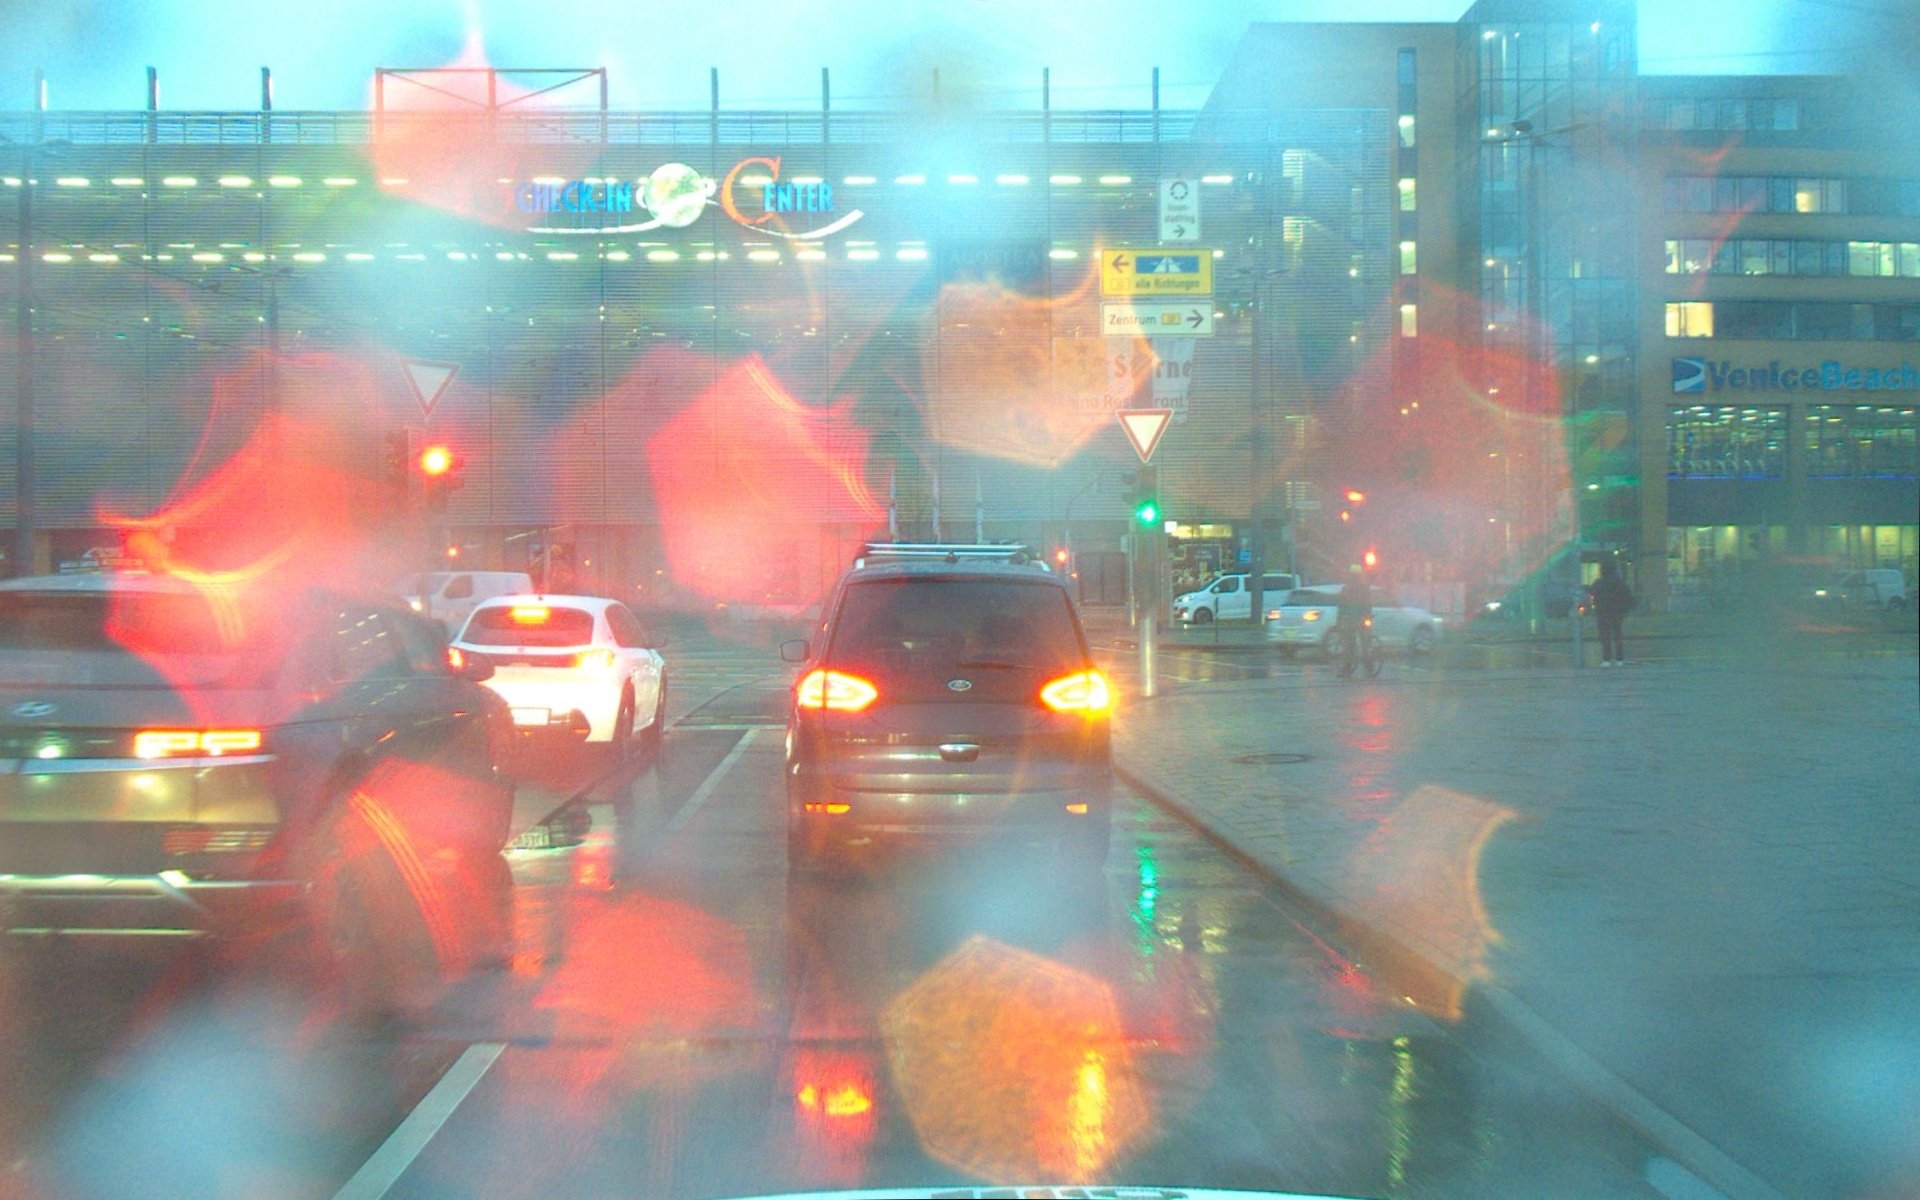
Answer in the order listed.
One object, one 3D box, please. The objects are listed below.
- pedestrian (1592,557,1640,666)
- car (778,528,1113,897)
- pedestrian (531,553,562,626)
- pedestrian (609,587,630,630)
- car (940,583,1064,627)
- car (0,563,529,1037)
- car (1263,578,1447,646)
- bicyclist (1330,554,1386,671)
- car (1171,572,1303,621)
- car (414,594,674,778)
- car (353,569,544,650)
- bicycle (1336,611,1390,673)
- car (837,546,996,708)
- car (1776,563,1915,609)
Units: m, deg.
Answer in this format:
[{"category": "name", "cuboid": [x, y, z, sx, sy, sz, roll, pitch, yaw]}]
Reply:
[{"category": "pedestrian", "cuboid": [11.639, 0.199, 29.333, 0.757, 1.910, 0.635, -1, 0, 23]}, {"category": "car", "cuboid": [-0.064, 0.555, 10.267, 1.639, 1.810, 4.000, 1, 0, 0]}, {"category": "pedestrian", "cuboid": [-17.156, -0.437, 68.661, 0.943, 2.976, 1.114, 1, -1, 0]}, {"category": "pedestrian", "cuboid": [-14.746, 0.367, 71.706, 0.772, 1.818, 0.732, -1, 0, -4]}, {"category": "car", "cuboid": [1.525, 0.158, 59.571, 4.297, 1.512, 1.841, -1, 0, -38]}, {"category": "car", "cuboid": [-3.324, 0.675, 7.802, 1.785, 1.597, 4.357, -1, 0, -5]}, {"category": "car", "cuboid": [8.496, 0.239, 35.553, 3.676, 1.385, 1.631, -1, 0, -27]}, {"category": "bicyclist", "cuboid": [6.689, 0.199, 27.807, 0.774, 1.923, 0.990, -1, 0, 6]}, {"category": "car", "cuboid": [10.327, -0.134, 61.780, 4.548, 1.707, 1.784, -1, 0, -7]}, {"category": "car", "cuboid": [-3.719, 0.687, 15.412, 1.724, 1.489, 3.914, 0, 0, -5]}, {"category": "car", "cuboid": [-12.755, 0.217, 41.607, 1.860, 1.904, 4.962, -1, 0, 22]}, {"category": "bicycle", "cuboid": [6.767, 0.688, 27.865, 0.641, 0.990, 1.868, -1, 0, 6]}, {"category": "car", "cuboid": [-0.610, 0.290, 21.158, 1.807, 1.837, 4.484, -1, 0, -3]}, {"category": "car", "cuboid": [34.923, -0.561, 65.304, 4.505, 1.749, 1.928, -1, 0, -5]}]
